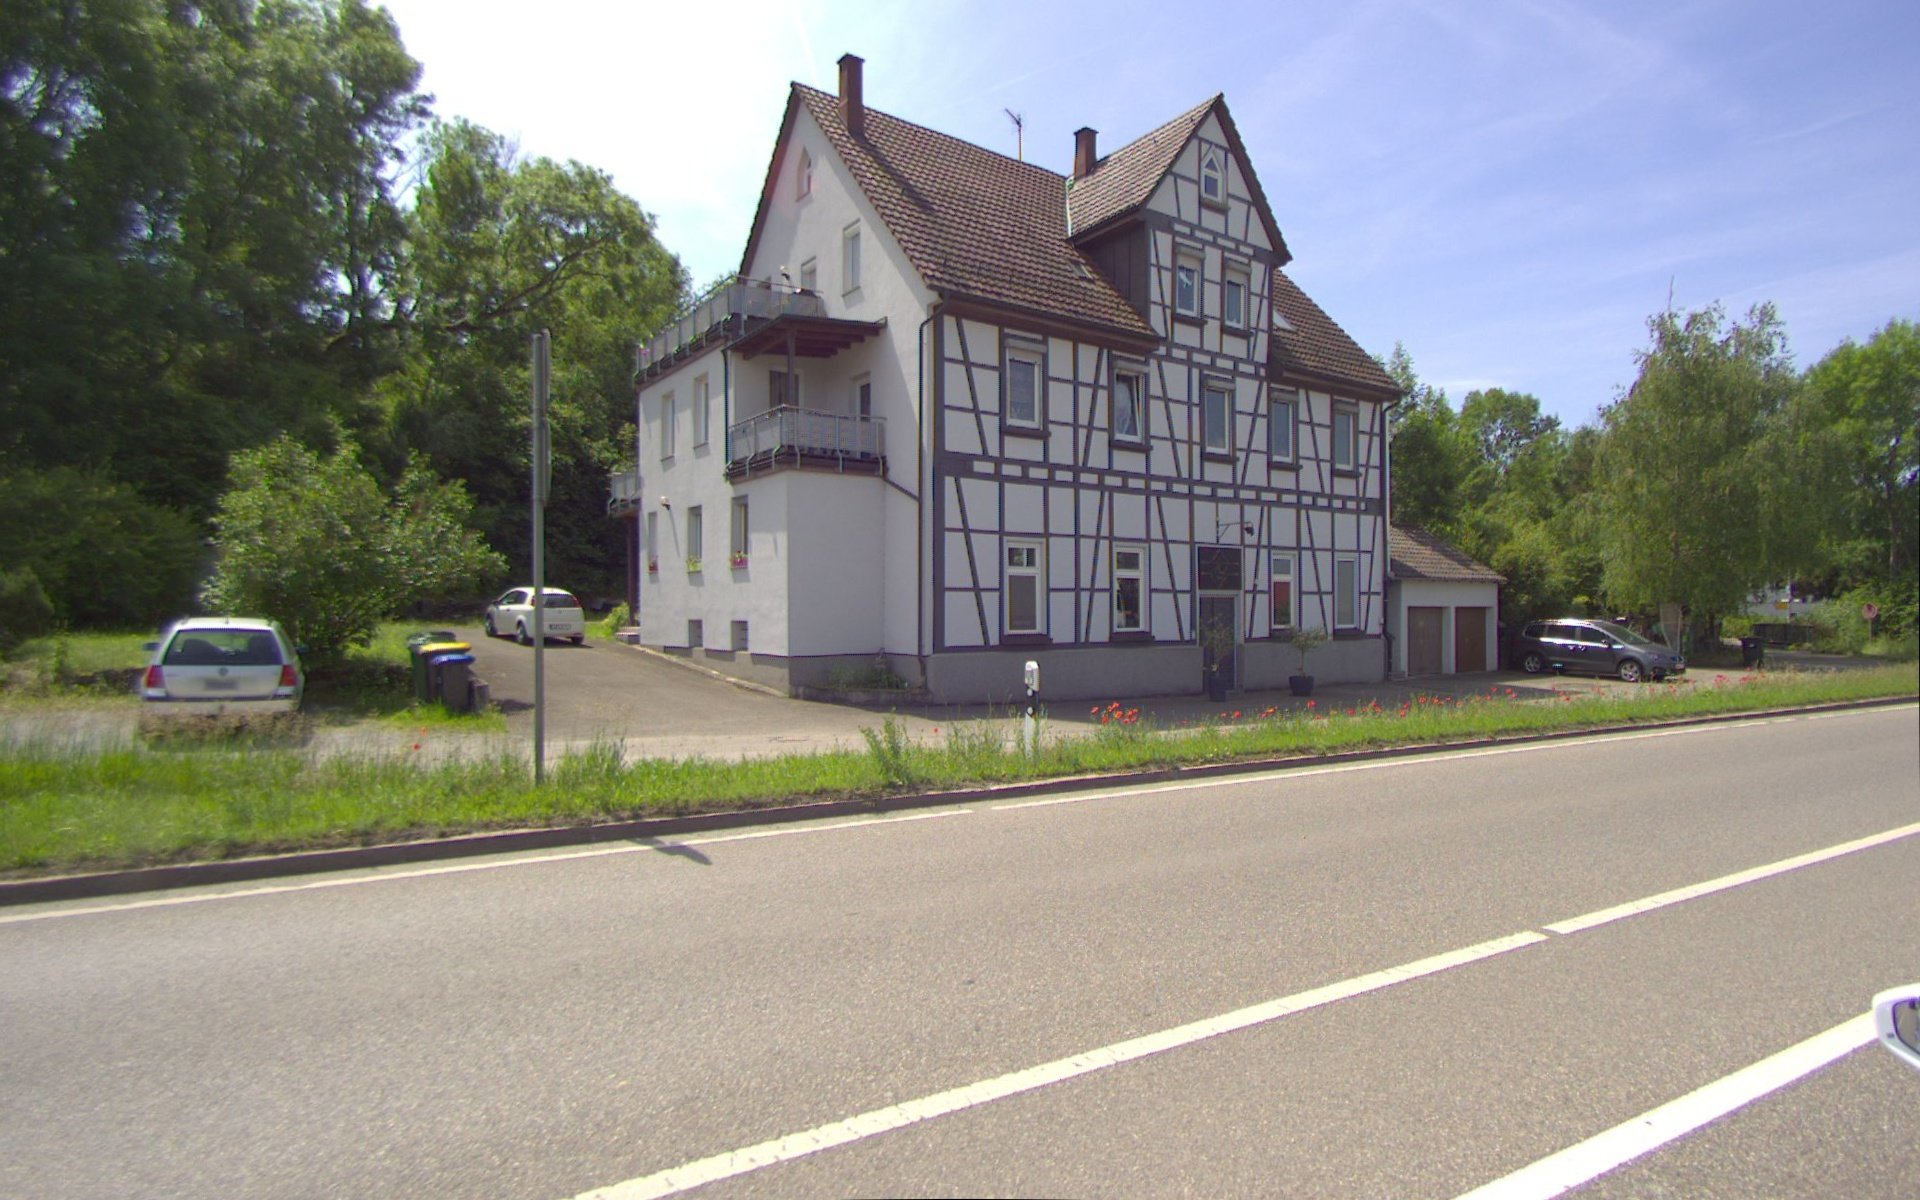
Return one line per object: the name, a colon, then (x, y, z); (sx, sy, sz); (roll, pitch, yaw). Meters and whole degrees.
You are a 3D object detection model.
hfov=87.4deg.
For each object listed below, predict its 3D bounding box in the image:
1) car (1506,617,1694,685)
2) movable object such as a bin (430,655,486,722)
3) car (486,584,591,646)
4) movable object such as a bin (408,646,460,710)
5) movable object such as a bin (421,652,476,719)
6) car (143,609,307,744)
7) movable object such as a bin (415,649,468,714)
car: (19.891, 1.520, 31.428); (1.842, 1.744, 4.635); (-2, 2, -33)
movable object such as a bin: (-7.595, 1.324, 15.187); (0.649, 0.949, 0.499); (2, 0, -38)
car: (-11.761, 0.395, 27.928); (1.660, 1.466, 3.345); (1, 2, -42)
movable object such as a bin: (-8.585, 1.259, 16.398); (0.649, 0.989, 0.499); (2, 0, -38)
movable object such as a bin: (-7.933, 1.314, 15.582); (0.649, 0.982, 0.499); (2, 0, -38)
car: (-9.925, 0.932, 13.674); (1.594, 1.485, 3.353); (1, 1, -35)
movable object such as a bin: (-8.261, 1.290, 15.993); (0.649, 0.984, 0.499); (2, 0, -38)
